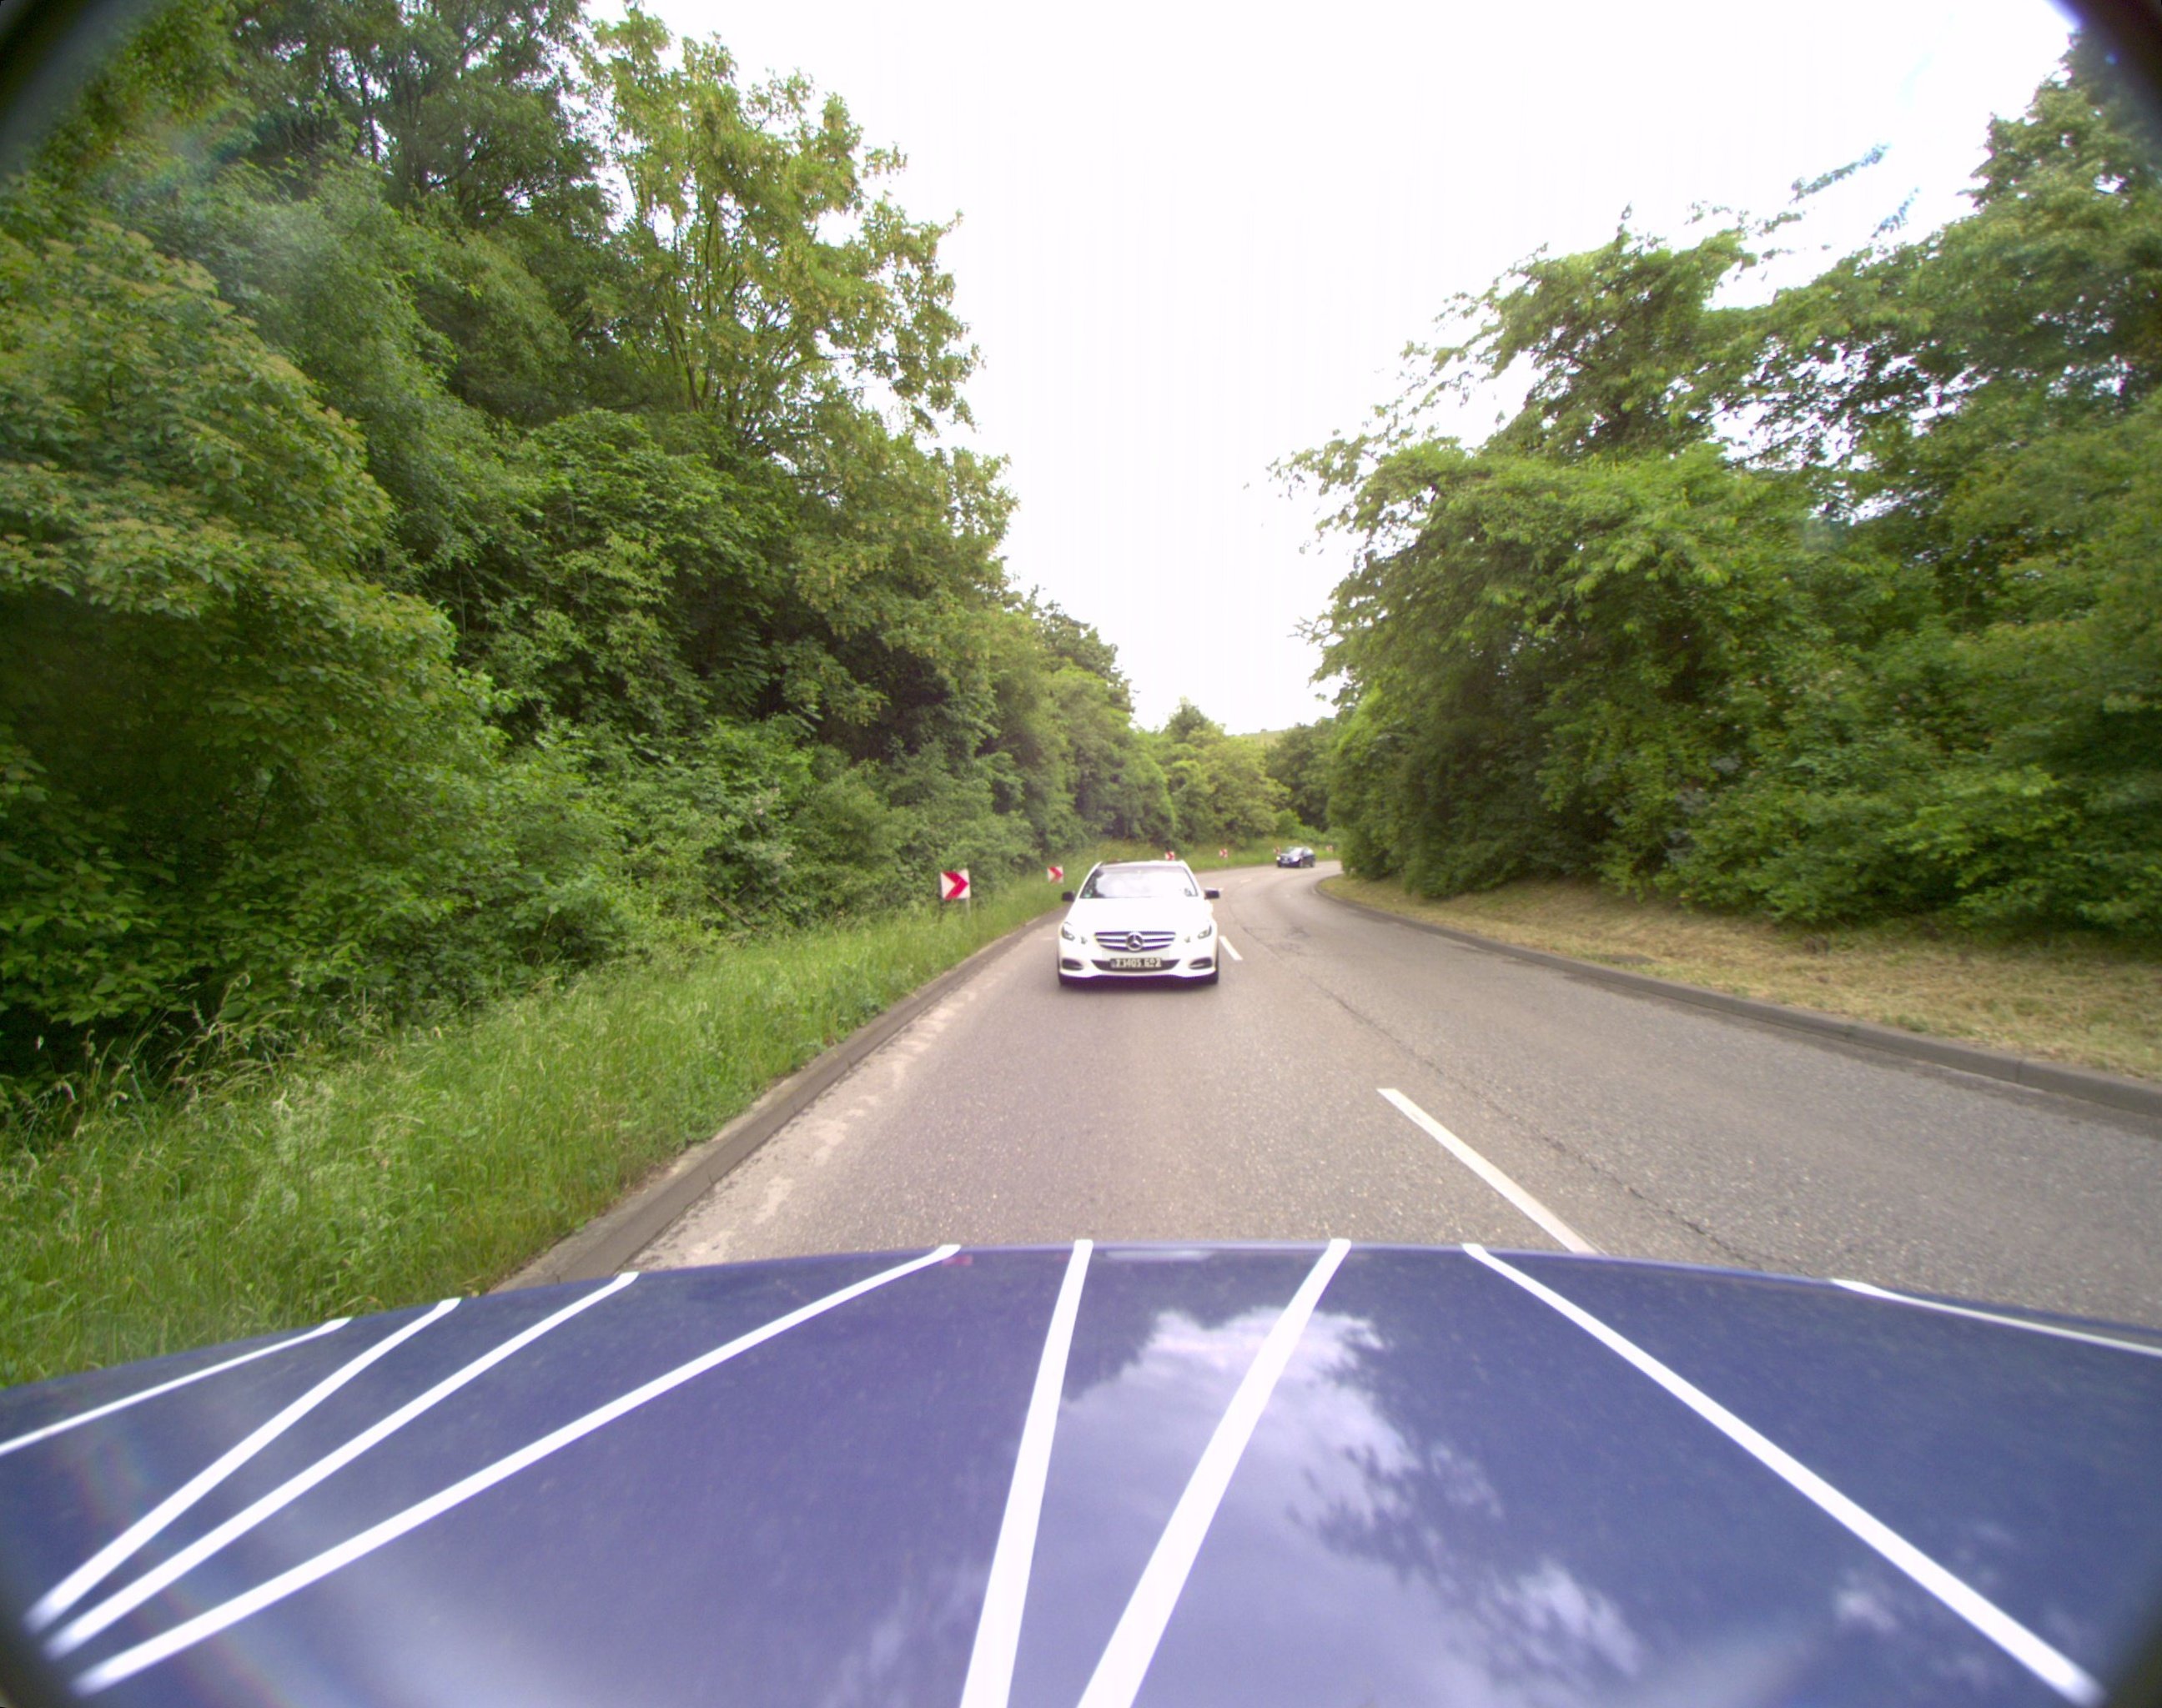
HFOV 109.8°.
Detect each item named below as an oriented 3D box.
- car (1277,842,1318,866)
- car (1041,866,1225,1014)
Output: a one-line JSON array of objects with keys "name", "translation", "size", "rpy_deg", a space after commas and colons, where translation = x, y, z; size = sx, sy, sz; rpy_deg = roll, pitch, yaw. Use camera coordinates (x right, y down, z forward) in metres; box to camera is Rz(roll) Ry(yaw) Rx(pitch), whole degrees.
[{"name": "car", "translation": [15.855, -0.023, 55.526], "size": [1.549, 1.636, 3.747], "rpy_deg": [5, 4, 37]}, {"name": "car", "translation": [0.749, 0.935, 10.033], "size": [1.866, 1.423, 4.357], "rpy_deg": [-2, 0, 6]}]
